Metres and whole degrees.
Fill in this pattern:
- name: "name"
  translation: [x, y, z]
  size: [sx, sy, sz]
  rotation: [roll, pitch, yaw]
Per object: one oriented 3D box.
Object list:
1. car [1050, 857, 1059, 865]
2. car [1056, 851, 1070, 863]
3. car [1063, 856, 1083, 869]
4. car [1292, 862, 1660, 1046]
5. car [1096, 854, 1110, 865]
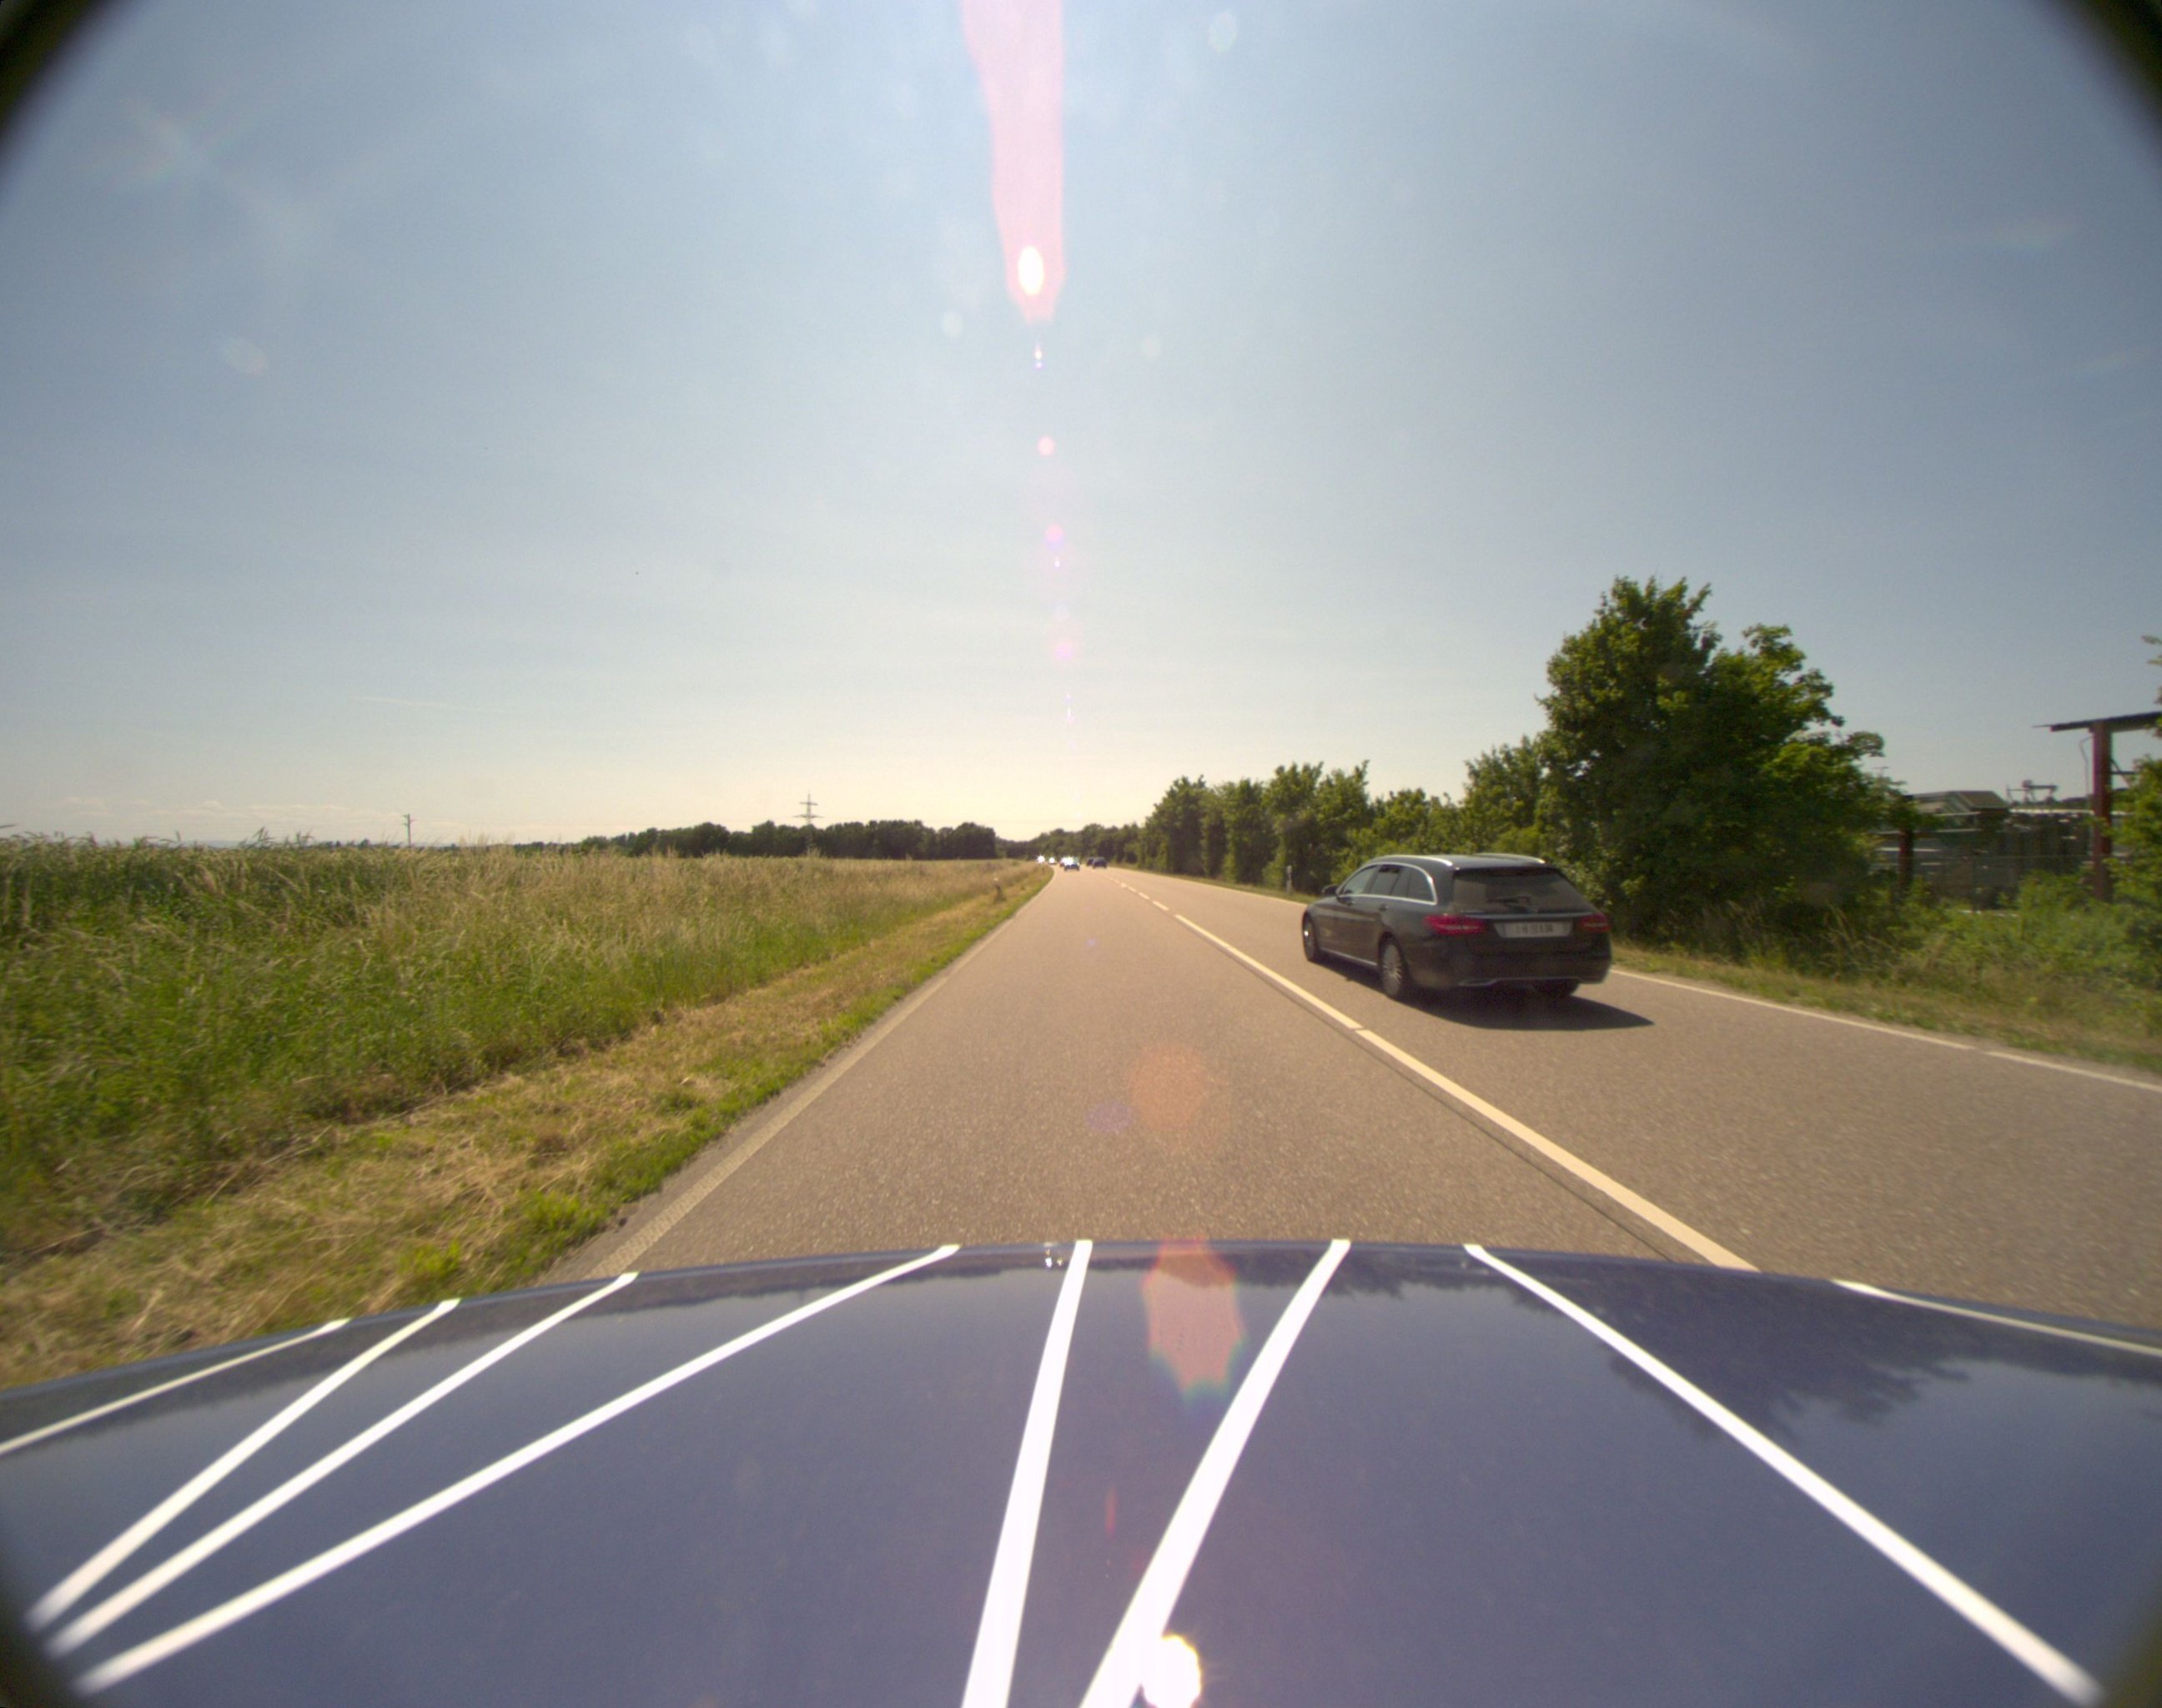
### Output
- name: "car"
  translation: [-5.796, 1.597, 166.411]
  size: [1.554, 1.659, 3.997]
  rotation: [-2, 1, -8]
- name: "car"
  translation: [-2.910, 0.527, 125.160]
  size: [1.999, 2.001, 3.998]
  rotation: [-1, 0, -5]
- name: "car"
  translation: [-0.958, 1.003, 88.662]
  size: [1.694, 1.431, 3.707]
  rotation: [-1, 0, -10]
- name: "car"
  translation: [3.879, 0.851, 8.517]
  size: [1.786, 1.412, 4.534]
  rotation: [-2, 0, 1]
- name: "car"
  translation: [2.914, 0.739, 100.761]
  size: [1.657, 1.398, 4.000]
  rotation: [-2, 0, 1]
